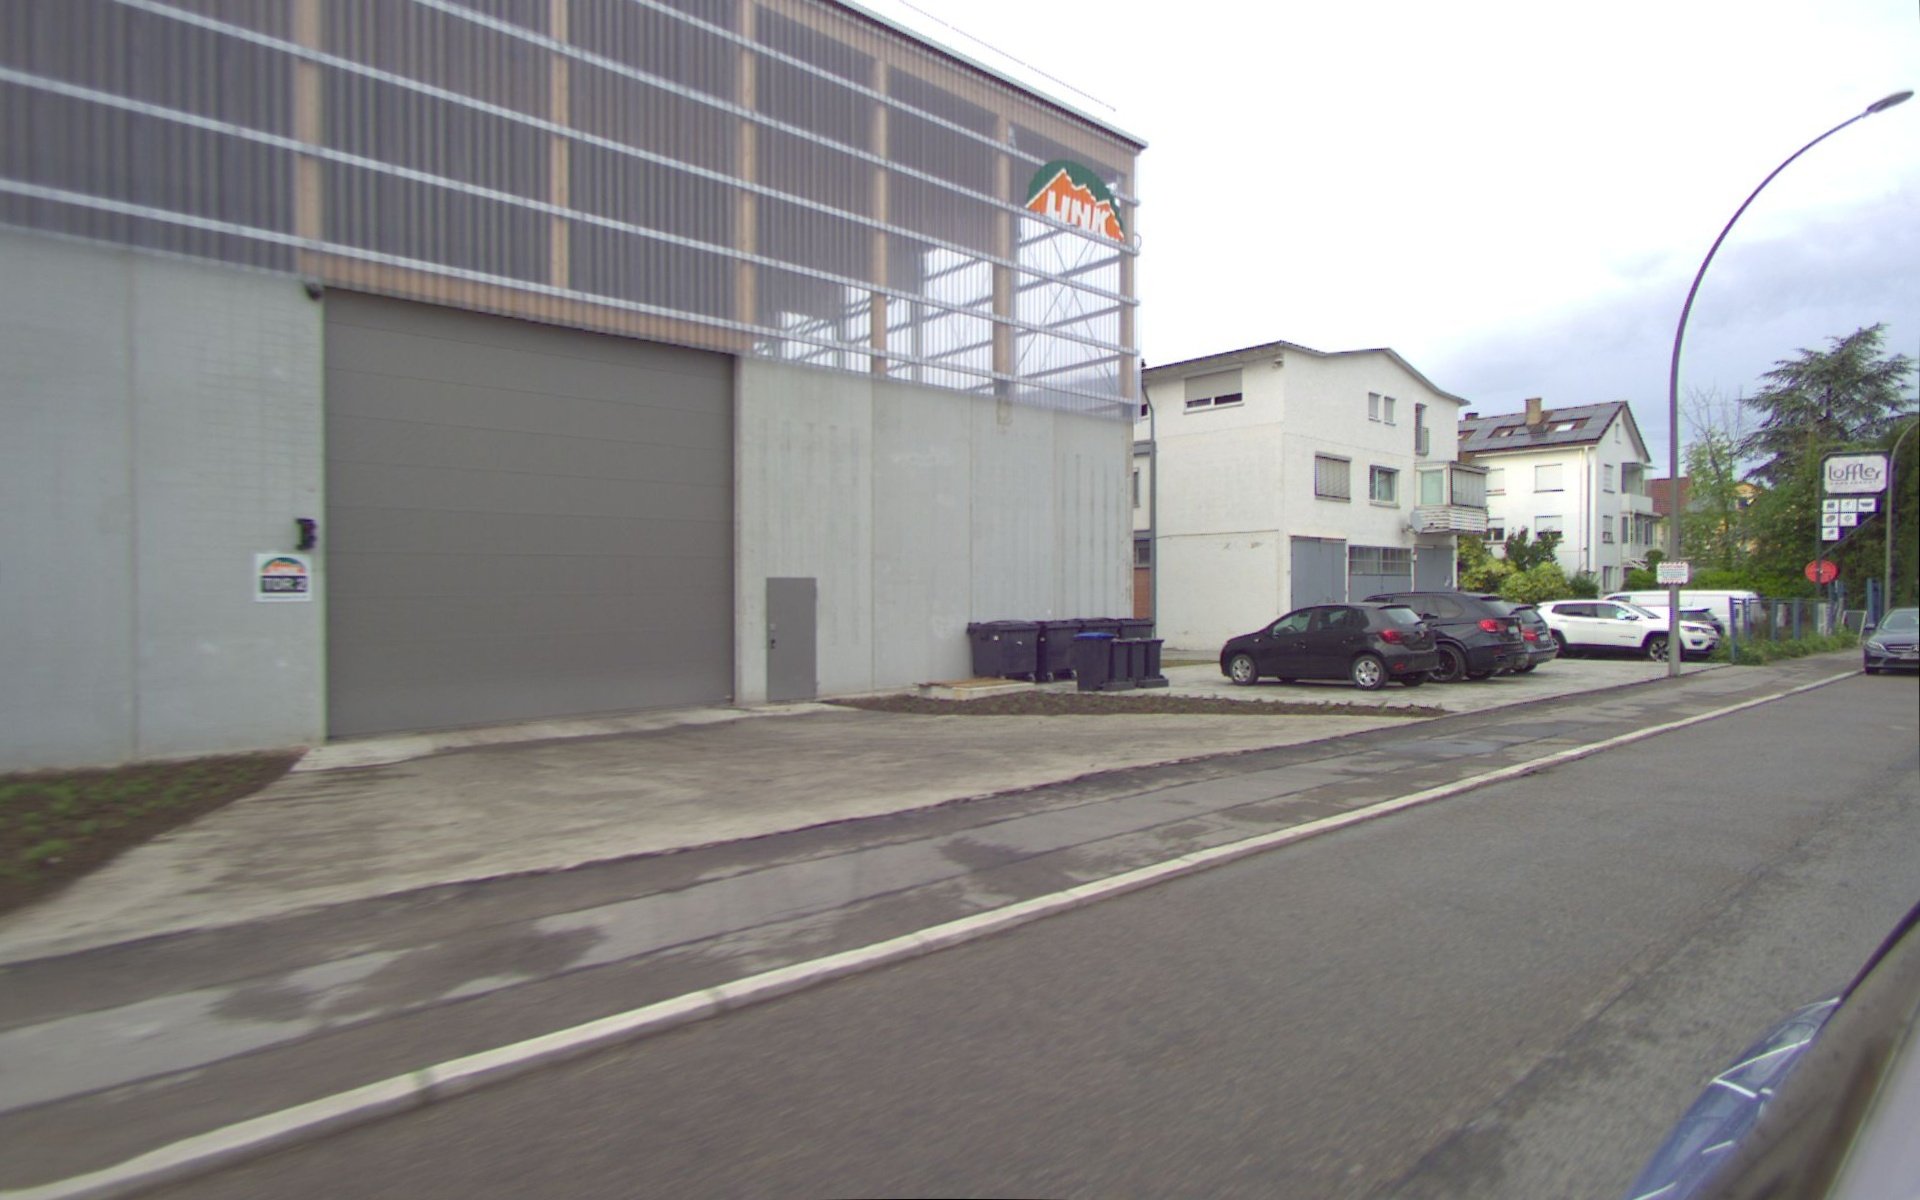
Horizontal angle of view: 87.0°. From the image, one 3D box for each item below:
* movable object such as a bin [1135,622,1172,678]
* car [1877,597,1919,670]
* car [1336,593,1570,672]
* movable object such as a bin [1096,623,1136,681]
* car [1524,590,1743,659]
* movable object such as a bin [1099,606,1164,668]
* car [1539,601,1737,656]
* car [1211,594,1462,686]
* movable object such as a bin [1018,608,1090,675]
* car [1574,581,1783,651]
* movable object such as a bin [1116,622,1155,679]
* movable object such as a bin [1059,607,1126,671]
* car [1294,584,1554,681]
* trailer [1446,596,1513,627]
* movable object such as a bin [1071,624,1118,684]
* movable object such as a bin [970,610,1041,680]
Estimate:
[{"bbox_3d":[3.816,0.977,19.947,0.496,1.068,0.518,0,-1,-40],"label":"movable object such as a bin"},{"bbox_3d":[21.690,0.683,22.334,4.468,1.485,1.740,-1,0,-43],"label":"car"},{"bbox_3d":[10.680,0.679,22.170,1.780,1.555,4.250,0,-1,-41],"label":"car"},{"bbox_3d":[2.968,0.970,19.236,0.534,1.068,0.513,0,-1,-40],"label":"movable object such as a bin"},{"bbox_3d":[17.485,0.605,26.446,1.861,1.645,4.451,0,0,-41],"label":"car"},{"bbox_3d":[3.954,0.835,23.321,1.307,1.357,0.839,0,-1,-40],"label":"movable object such as a bin"},{"bbox_3d":[19.038,0.767,28.574,1.818,1.396,4.326,0,0,-41],"label":"car"},{"bbox_3d":[6.820,0.660,18.656,1.800,1.509,3.974,0,0,-39],"label":"car"},{"bbox_3d":[1.998,0.868,21.539,1.298,1.357,0.839,0,-1,-40],"label":"movable object such as a bin"},{"bbox_3d":[21.215,0.461,30.053,1.965,1.910,4.739,0,0,-40],"label":"car"},{"bbox_3d":[3.406,0.964,19.603,0.543,1.068,0.496,0,-1,-40],"label":"movable object such as a bin"},{"bbox_3d":[2.948,0.847,22.450,1.262,1.357,0.839,0,-1,-40],"label":"movable object such as a bin"},{"bbox_3d":[9.006,0.582,19.893,1.947,1.696,4.230,0,0,-43],"label":"car"},{"bbox_3d":[26.243,0.572,51.086,4.024,1.483,1.643,-1,0,-41],"label":"trailer"},{"bbox_3d":[2.506,0.988,18.863,0.633,1.068,0.575,0,-1,-40],"label":"movable object such as a bin"},{"bbox_3d":[0.933,0.895,20.697,1.192,1.357,0.839,0,-1,-40],"label":"movable object such as a bin"}]
